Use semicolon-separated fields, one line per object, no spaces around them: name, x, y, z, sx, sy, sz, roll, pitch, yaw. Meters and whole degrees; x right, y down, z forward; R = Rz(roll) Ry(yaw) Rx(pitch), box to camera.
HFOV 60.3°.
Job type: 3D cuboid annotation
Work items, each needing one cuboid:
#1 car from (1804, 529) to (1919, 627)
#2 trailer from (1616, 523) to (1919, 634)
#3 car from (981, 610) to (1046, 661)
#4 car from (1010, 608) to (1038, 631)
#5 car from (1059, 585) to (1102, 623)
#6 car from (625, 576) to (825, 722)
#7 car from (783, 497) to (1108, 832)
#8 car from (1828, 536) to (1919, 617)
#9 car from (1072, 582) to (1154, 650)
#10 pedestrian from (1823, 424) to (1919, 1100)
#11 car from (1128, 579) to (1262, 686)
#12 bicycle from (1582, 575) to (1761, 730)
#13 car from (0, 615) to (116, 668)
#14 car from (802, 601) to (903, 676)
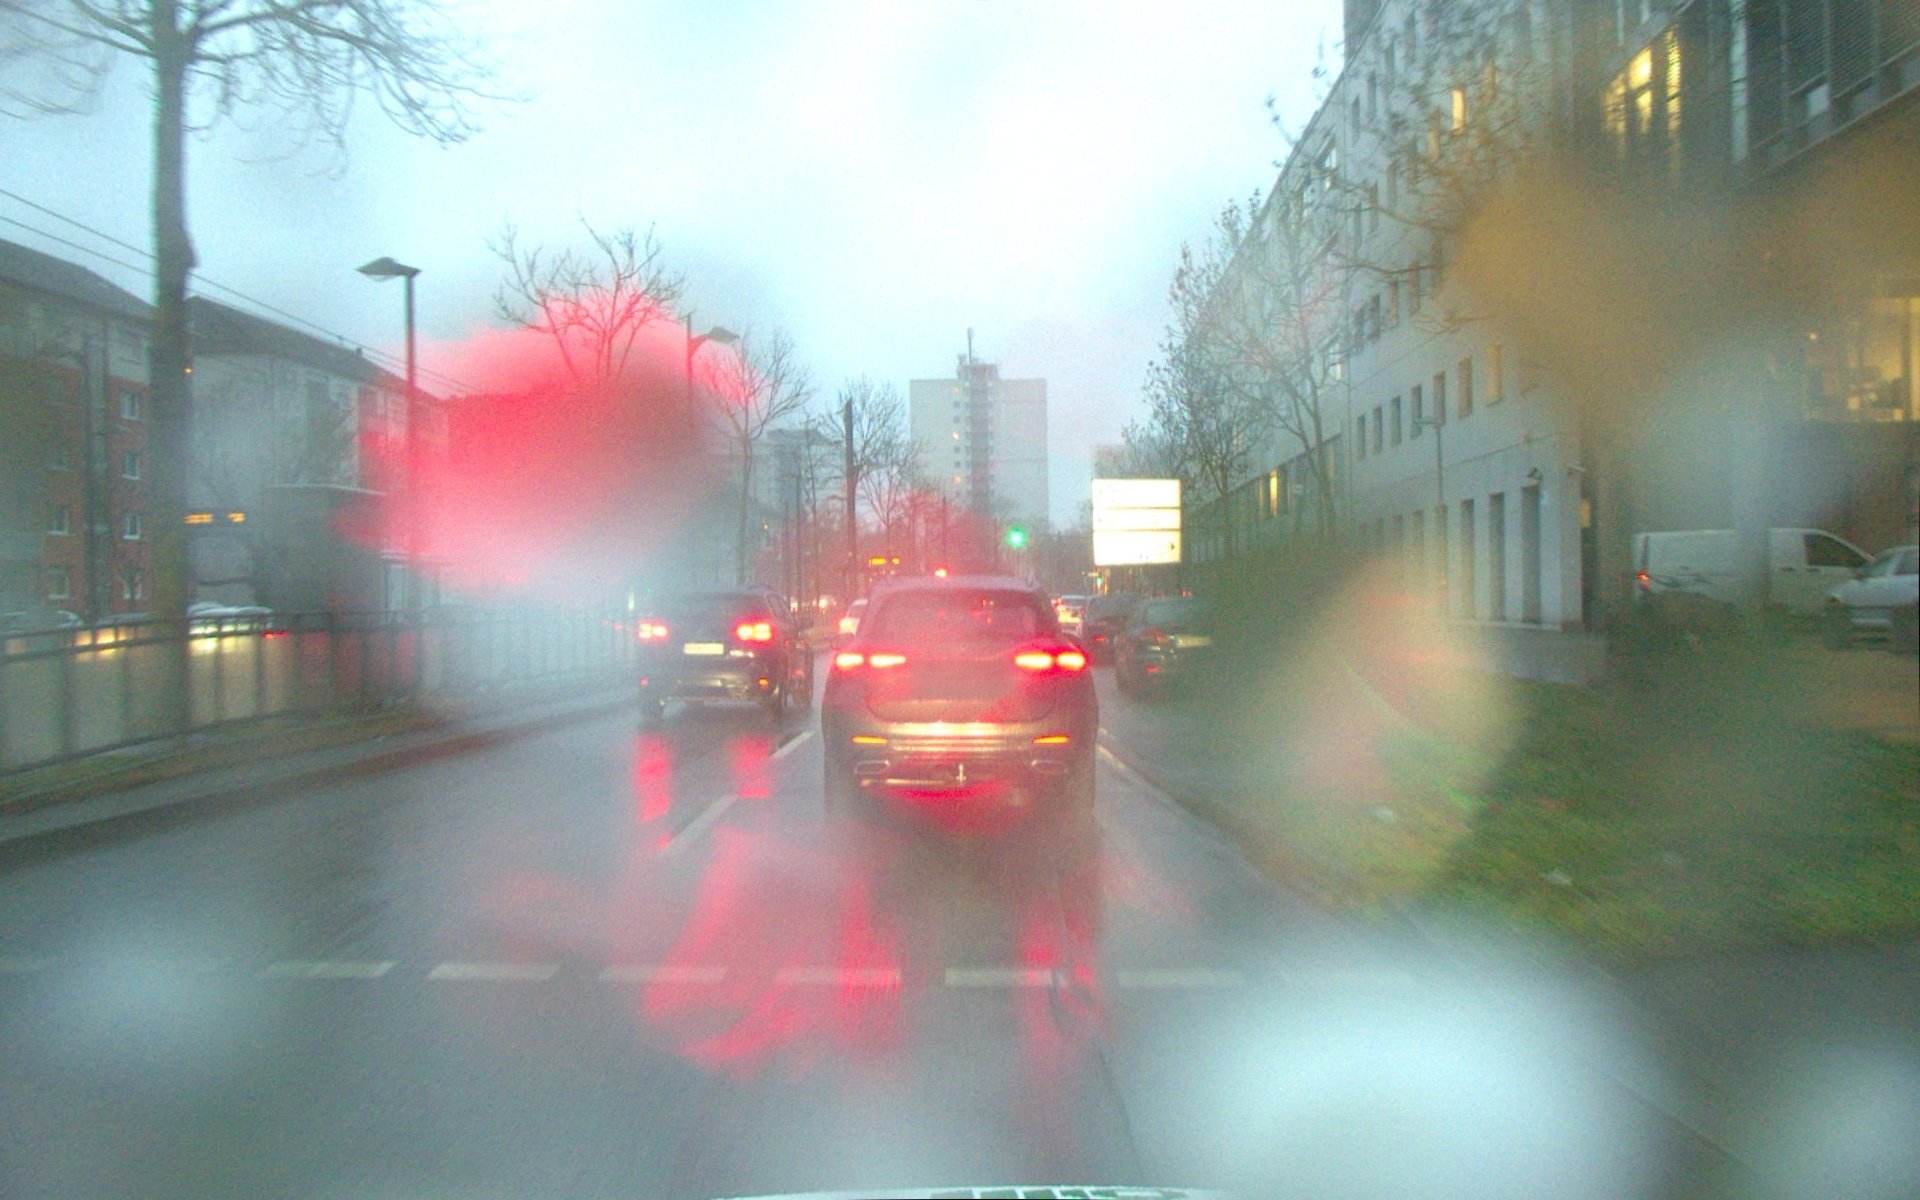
car;14.432;-0.291;24.458;1.598;1.395;4.530;0;-1;0
trailer;15.183;-0.414;31.023;4.959;1.944;2.132;-1;1;8
car;1.610;1.026;49.278;1.847;1.377;4.103;0;1;2
car;4.483;1.348;115.300;1.733;1.528;3.370;0;-1;5
car;5.671;0.210;78.165;1.952;1.720;3.530;0;-1;4
car;-2.993;0.617;21.992;1.952;1.742;4.325;0;-1;1
car;-0.090;0.416;12.011;1.953;2.010;4.067;0;-1;0
car;19.699;-0.512;32.931;3.902;1.544;1.659;-2;1;9
car;3.412;0.311;36.910;1.717;1.427;4.253;0;1;5
pedestrian;2.953;0.426;4.421;0.755;1.840;0.699;-5;-1;-1
car;3.447;0.468;24.872;1.563;1.466;4.229;0;-1;2
bicycle;5.725;0.407;13.452;0.539;1.135;2.166;-2;-1;2
car;-27.976;1.243;50.941;1.689;1.571;4.151;0;-1;2
car;-2.485;0.898;39.187;1.952;1.671;4.023;0;-1;2
